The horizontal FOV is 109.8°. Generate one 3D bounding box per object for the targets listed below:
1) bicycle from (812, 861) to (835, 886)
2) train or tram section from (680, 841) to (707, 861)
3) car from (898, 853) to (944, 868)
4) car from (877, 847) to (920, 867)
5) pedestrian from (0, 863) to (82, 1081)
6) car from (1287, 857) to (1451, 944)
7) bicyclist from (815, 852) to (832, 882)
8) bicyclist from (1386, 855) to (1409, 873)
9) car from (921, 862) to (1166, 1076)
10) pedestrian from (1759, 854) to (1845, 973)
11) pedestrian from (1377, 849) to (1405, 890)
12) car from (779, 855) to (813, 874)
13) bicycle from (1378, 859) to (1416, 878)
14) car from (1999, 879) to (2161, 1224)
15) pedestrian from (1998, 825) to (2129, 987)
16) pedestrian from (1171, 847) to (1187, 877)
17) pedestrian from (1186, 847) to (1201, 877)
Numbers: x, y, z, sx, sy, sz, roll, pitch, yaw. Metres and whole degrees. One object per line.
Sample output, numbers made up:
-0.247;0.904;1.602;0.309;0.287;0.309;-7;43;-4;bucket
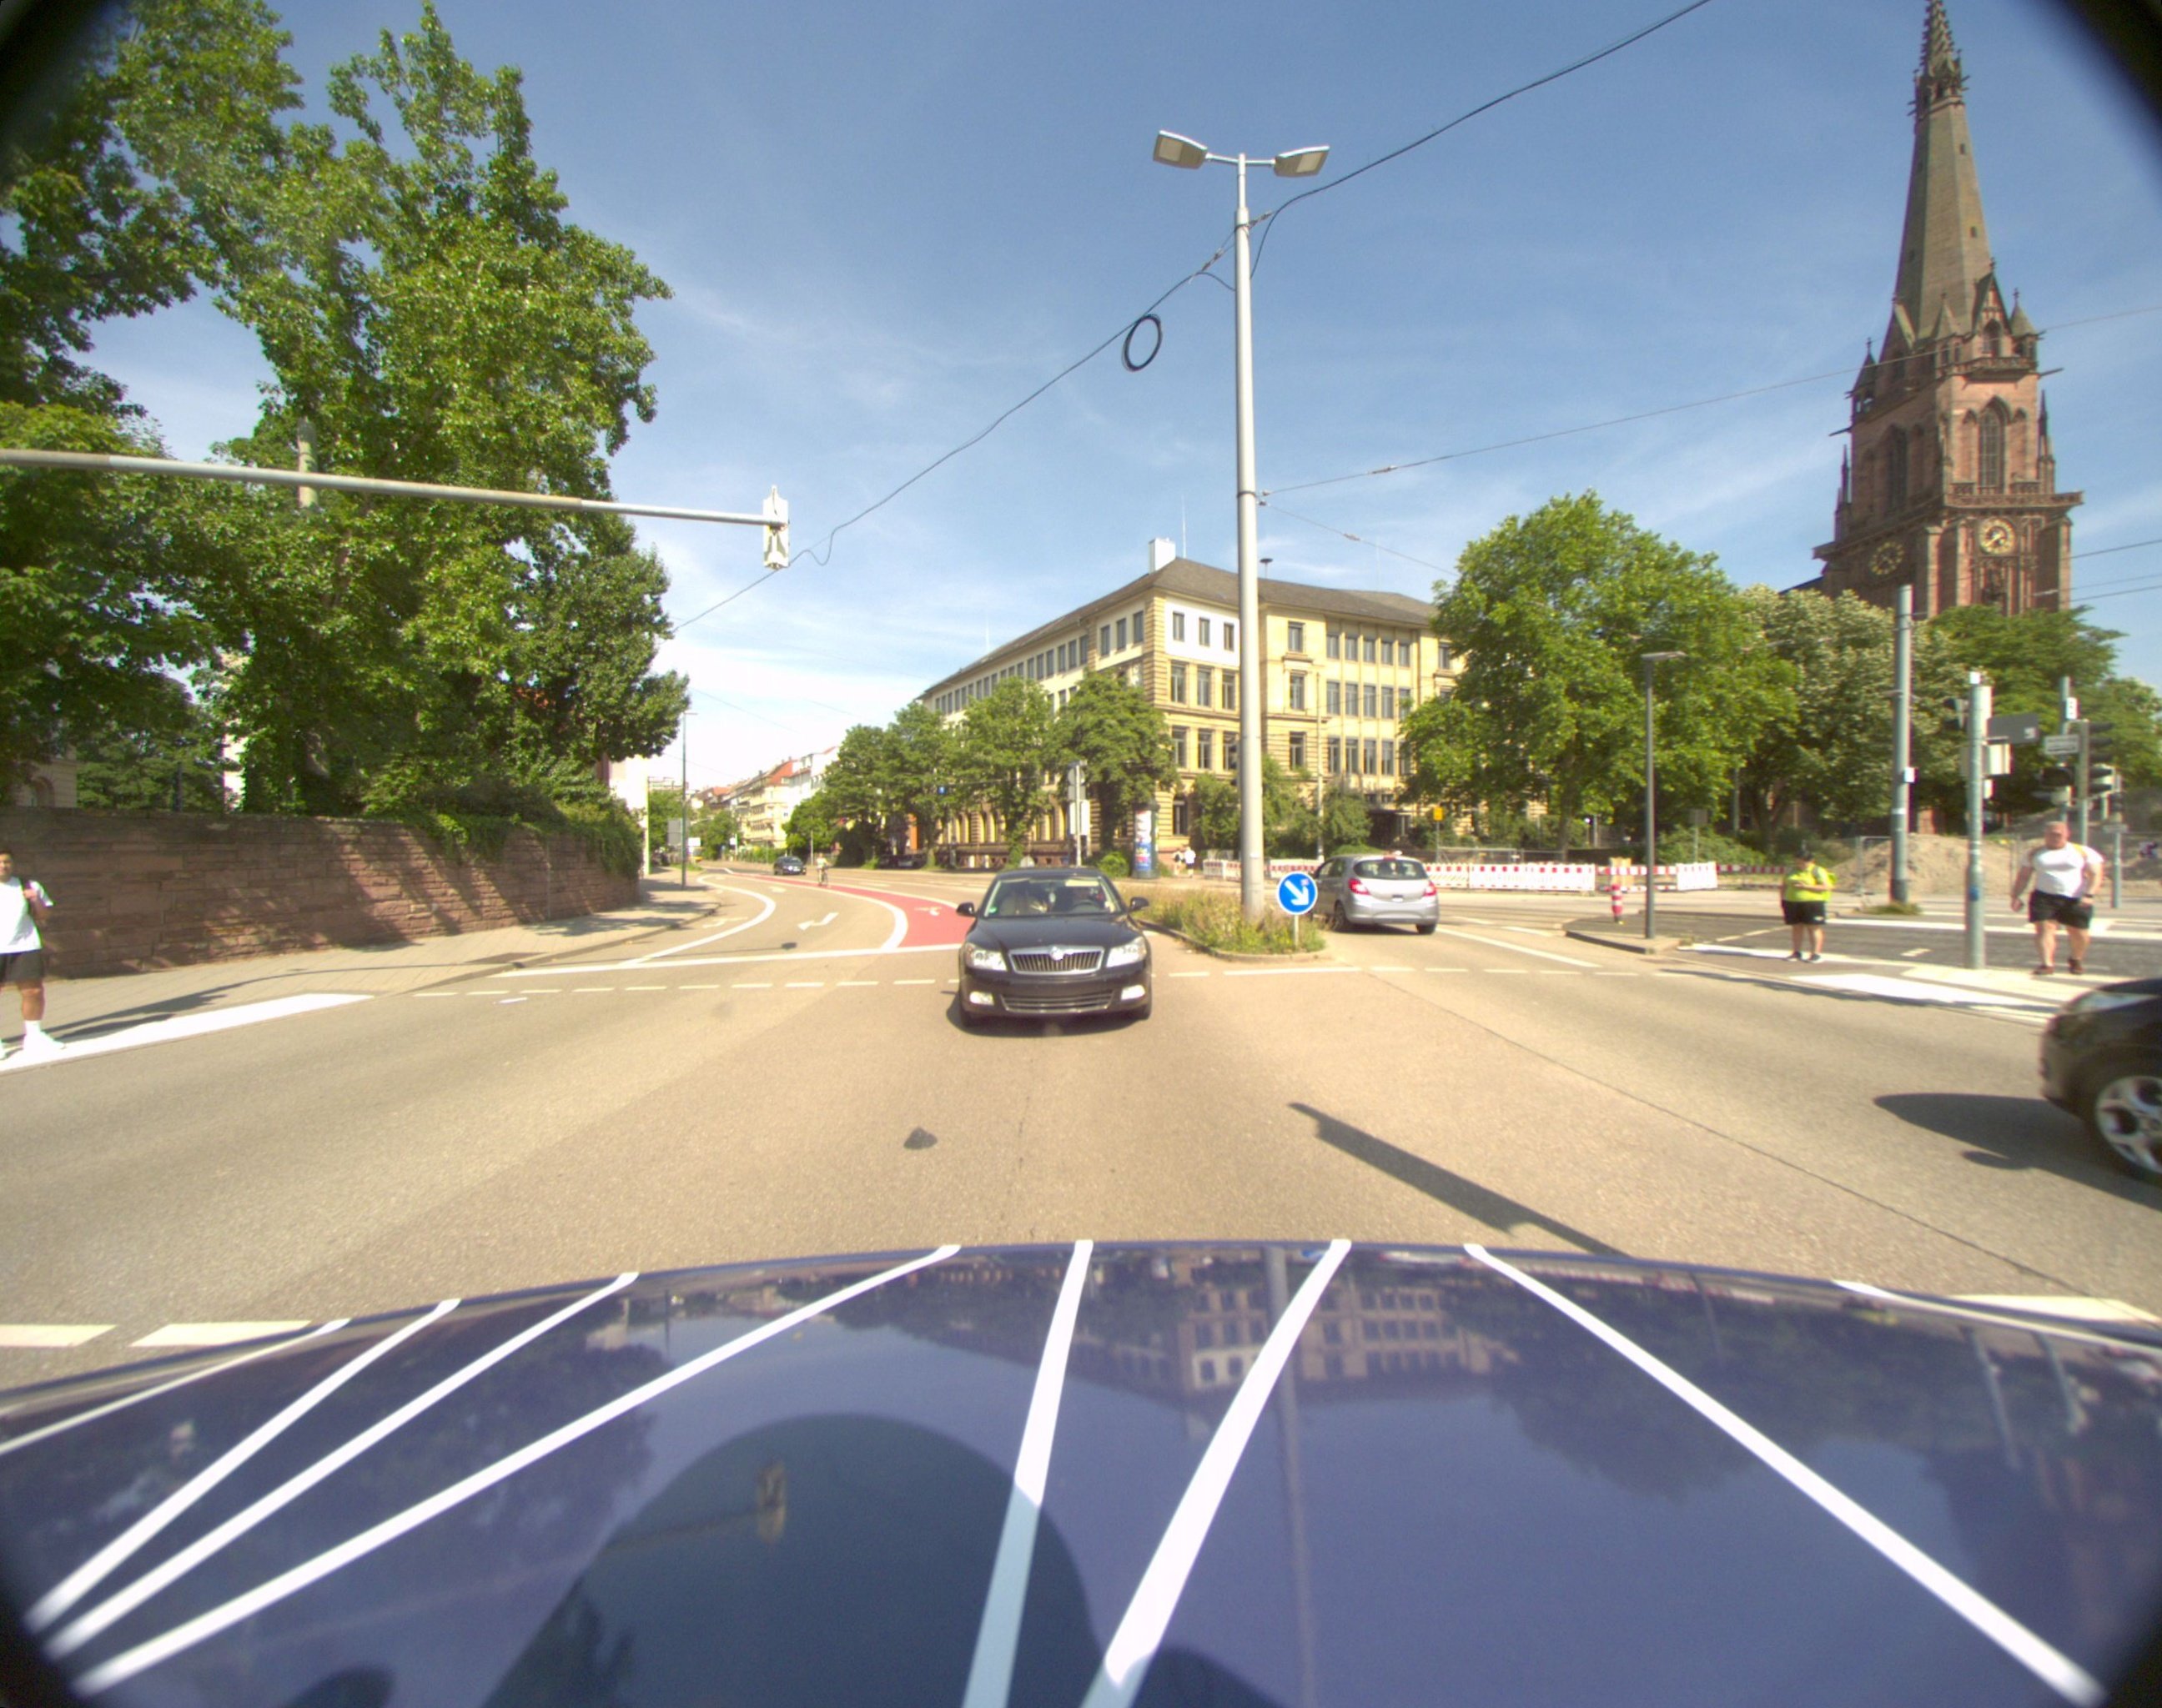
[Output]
-13.610;1.019;40.107;0.687;1.215;2.181;-1;1;-31;bicycle
-78.567;-0.547;153.905;3.222;3.838;14.549;-1;0;-33;train or tram section
-16.026;0.653;76.231;4.007;1.455;1.995;0;0;-34;car
-19.401;0.306;80.720;4.007;2.002;1.995;0;1;-34;car
-9.727;1.020;6.766;0.654;1.863;0.795;1;0;-17;pedestrian
5.458;0.803;14.980;1.798;1.403;4.000;1;0;2;car
-13.549;0.679;40.004;0.589;1.539;0.929;-3;2;-30;bicyclist
16.252;0.497;39.039;0.684;0.922;0.867;-1;1;-37;bicyclist
-0.349;0.908;8.227;1.864;1.510;4.825;0;1;-2;car
9.740;0.776;10.285;0.423;1.534;0.667;-4;1;-12;pedestrian
12.761;0.618;31.306;0.939;1.646;0.845;0;1;10;pedestrian
-22.145;0.793;58.915;1.805;1.368;4.266;-2;1;-29;car
16.225;0.732;39.067;0.703;0.941;1.661;-1;1;-38;bicycle
5.383;0.872;1.868;1.670;1.442;3.818;1;0;2;car
11.542;0.580;8.961;0.839;1.802;0.651;-1;0;43;pedestrian
5.790;0.487;44.834;0.743;1.739;0.586;0;1;34;pedestrian
6.666;0.452;45.031;0.743;1.739;0.586;0;1;34;pedestrian
